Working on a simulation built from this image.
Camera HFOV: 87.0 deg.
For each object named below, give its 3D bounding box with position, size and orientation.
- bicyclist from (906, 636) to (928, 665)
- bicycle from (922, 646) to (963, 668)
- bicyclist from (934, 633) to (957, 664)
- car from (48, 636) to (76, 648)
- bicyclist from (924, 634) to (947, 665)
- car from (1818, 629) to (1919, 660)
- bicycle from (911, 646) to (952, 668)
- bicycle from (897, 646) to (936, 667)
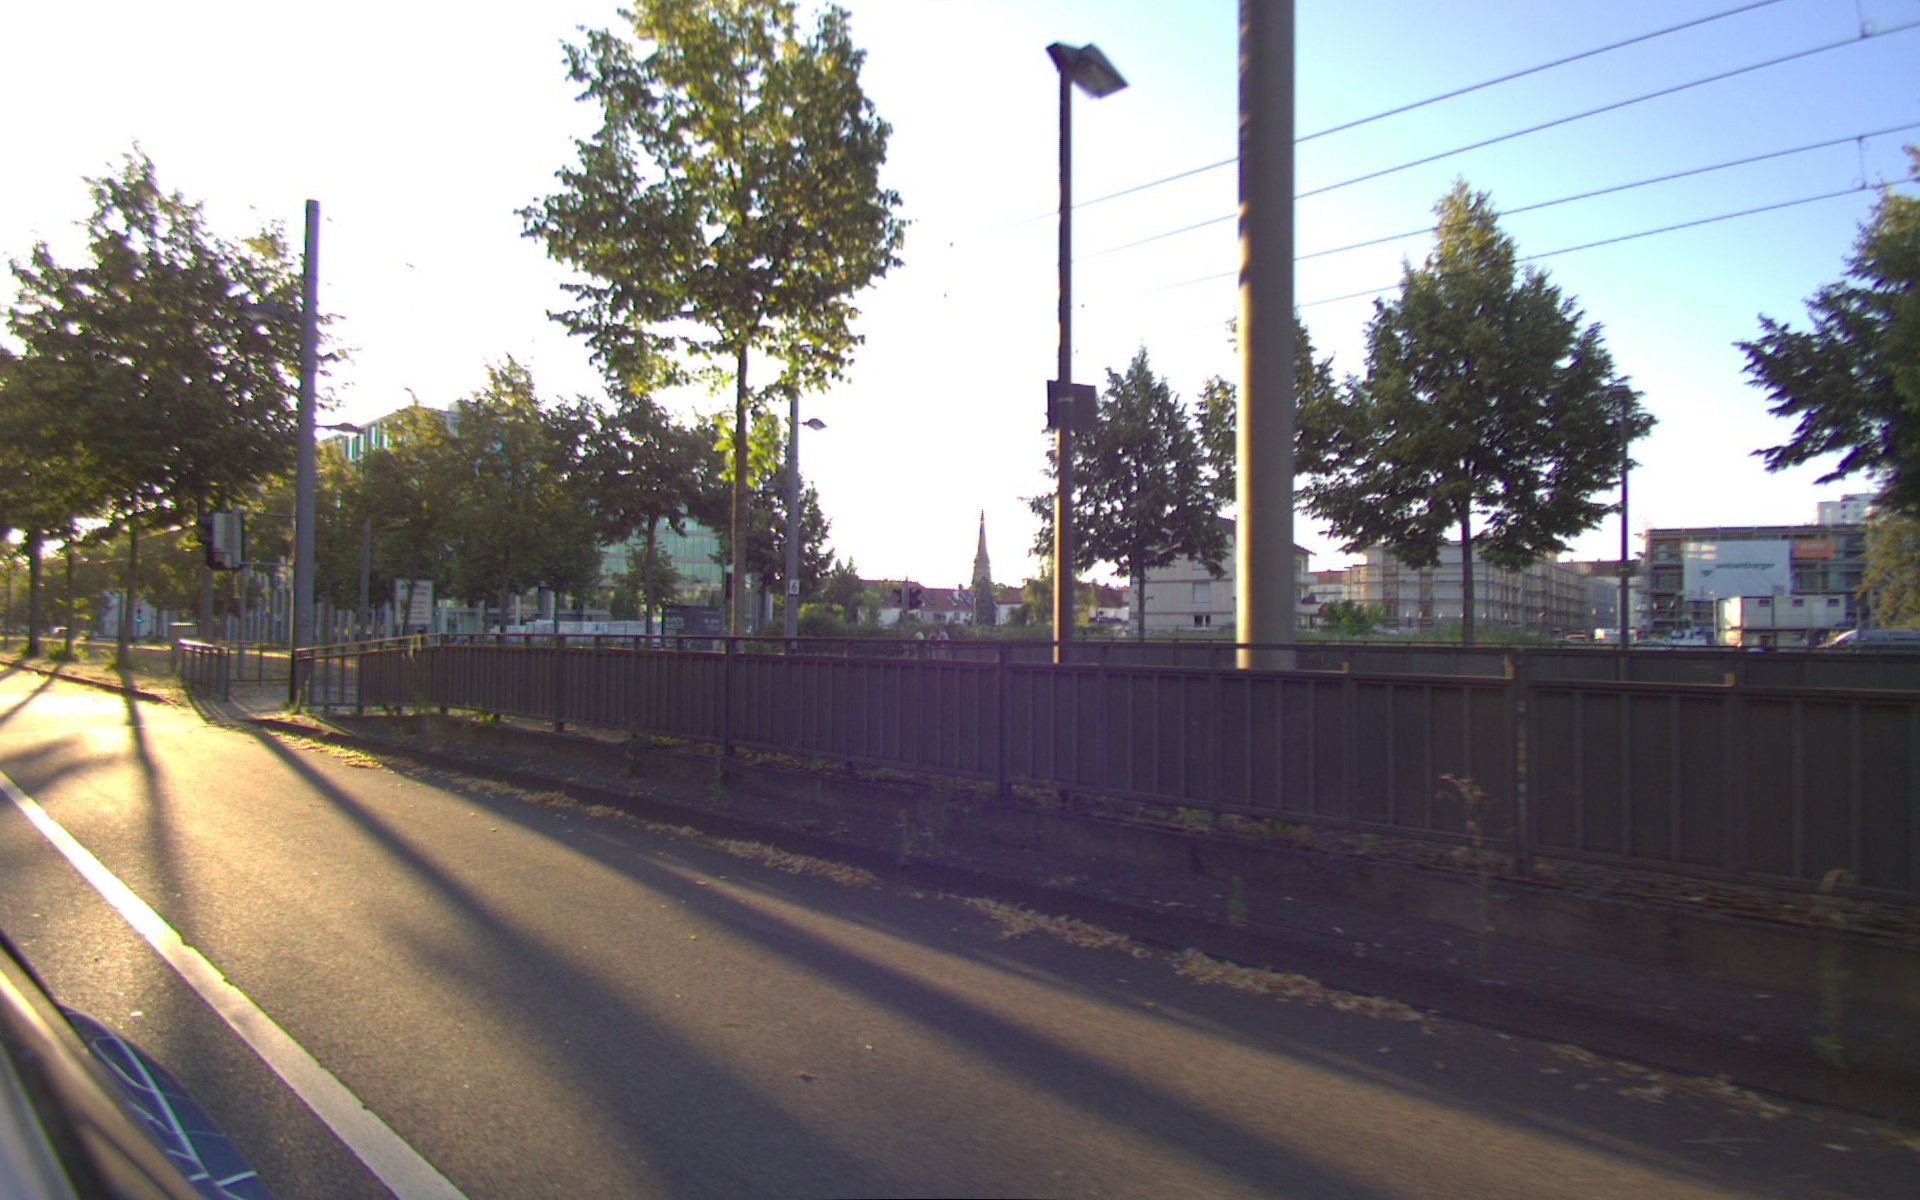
[{"bbox_3d":[-2.162,2.538,50.809,0.936,1.432,0.613,-2,-3,40],"label":"bicyclist"},{"bbox_3d":[-0.846,2.764,48.985,2.081,1.019,0.613,-1,-3,40],"label":"bicycle"},{"bbox_3d":[-0.707,2.352,48.908,0.936,1.467,0.613,-2,-3,40],"label":"bicyclist"},{"bbox_3d":[-113.423,5.343,127.800,4.627,1.497,1.883,-2,-3,40],"label":"car"},{"bbox_3d":[-1.185,2.351,48.263,0.936,1.467,0.613,-2,-3,40],"label":"bicyclist"},{"bbox_3d":[60.928,2.960,67.994,4.793,2.029,1.976,-1,-3,35],"label":"car"},{"bbox_3d":[-1.380,2.708,48.406,2.081,1.019,0.613,-1,-3,40],"label":"bicycle"},{"bbox_3d":[-2.214,2.823,50.871,2.081,1.019,0.613,-1,-3,40],"label":"bicycle"}]
